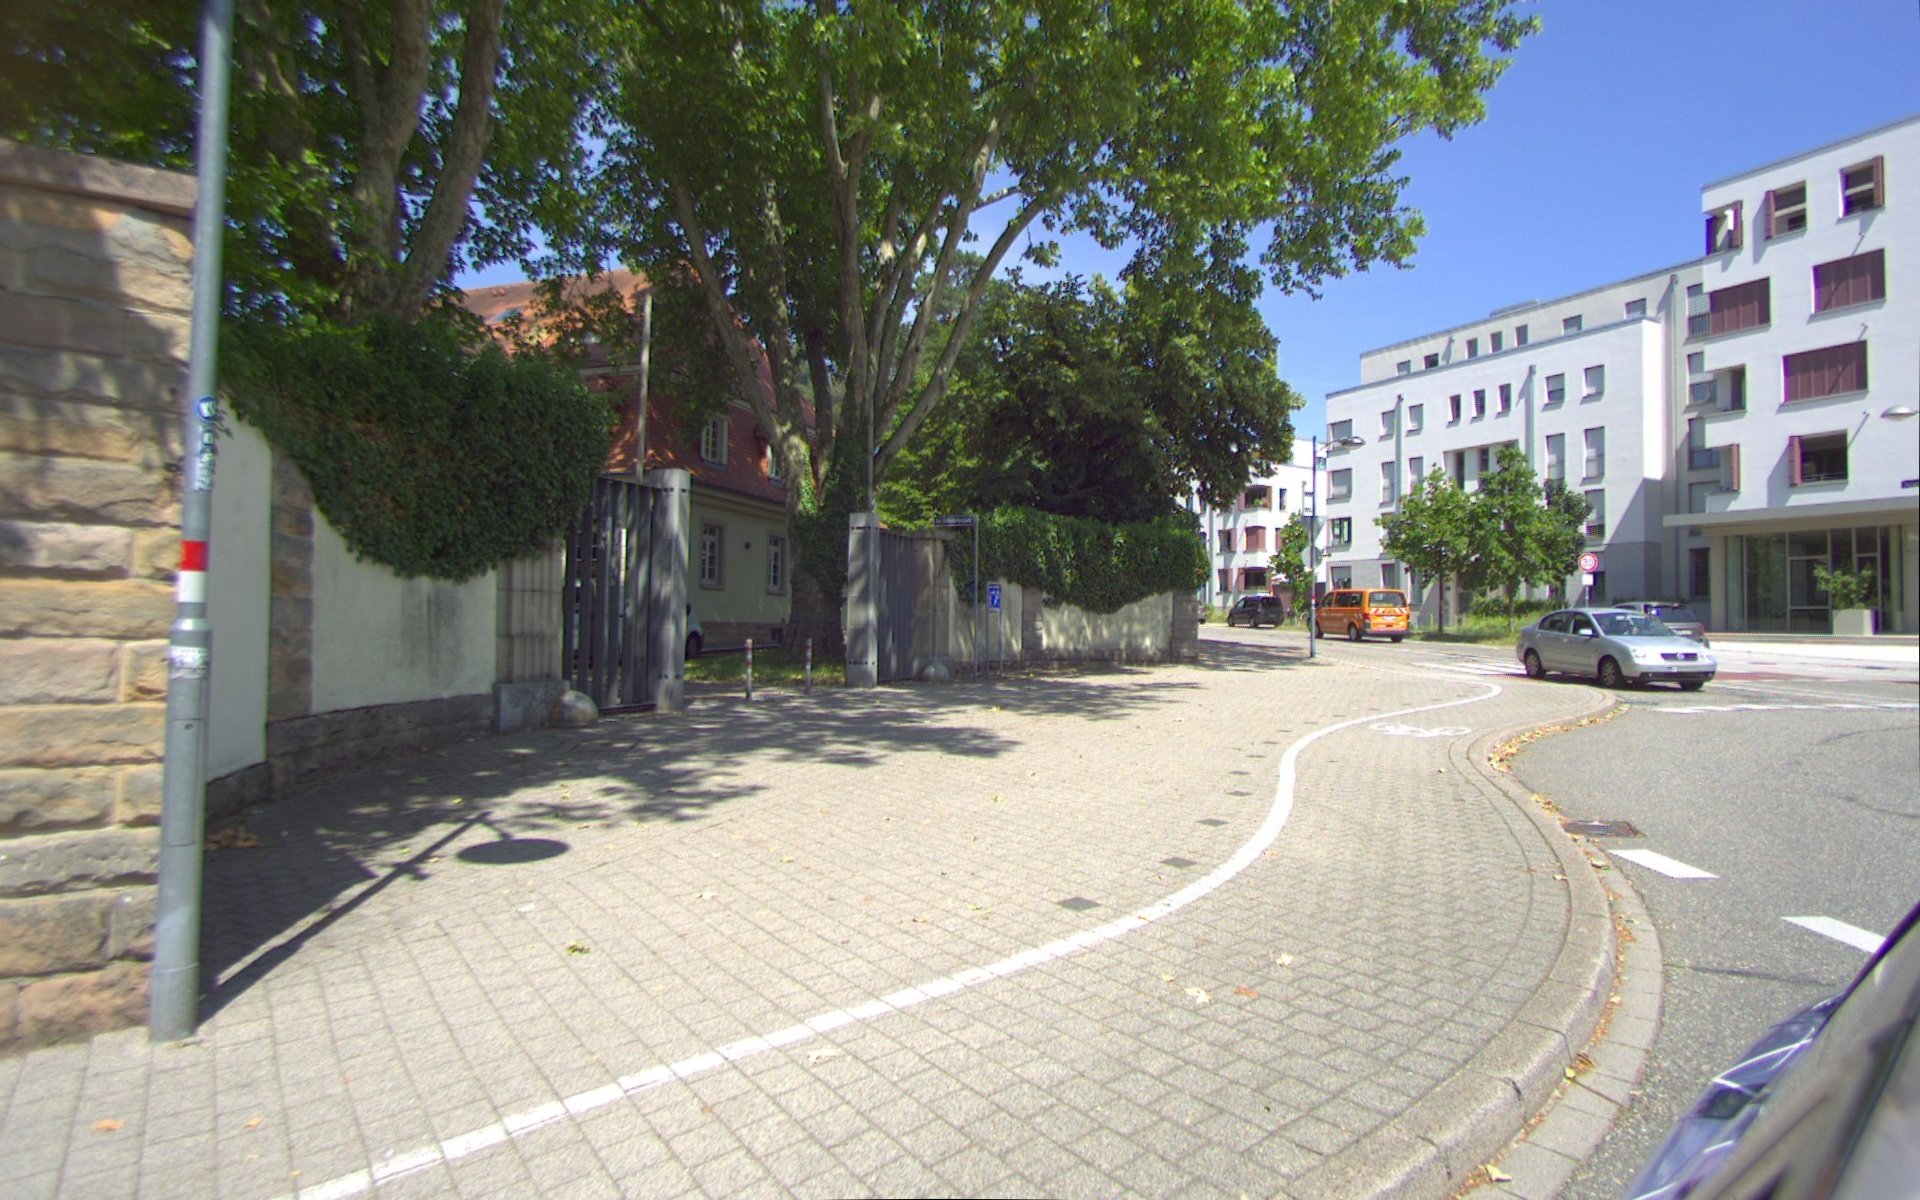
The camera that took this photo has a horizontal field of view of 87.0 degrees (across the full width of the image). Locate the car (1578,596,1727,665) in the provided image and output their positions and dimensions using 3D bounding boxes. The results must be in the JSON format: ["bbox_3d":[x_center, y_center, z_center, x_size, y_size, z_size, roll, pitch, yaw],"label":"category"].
[{"bbox_3d":[16.538,0.680,24.309,1.539,1.549,2.791,0,0,-4],"label":"car"}]

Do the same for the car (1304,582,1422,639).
[{"bbox_3d":[15.113,0.356,38.317,1.911,1.984,5.027,-1,0,-7],"label":"car"}]

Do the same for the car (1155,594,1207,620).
[{"bbox_3d":[14.004,0.426,64.315,1.753,1.610,3.635,0,0,-16],"label":"car"}]

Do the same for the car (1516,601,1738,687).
[{"bbox_3d":[12.553,0.757,19.378,1.578,1.470,4.000,0,0,0],"label":"car"}]

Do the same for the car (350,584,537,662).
[{"bbox_3d":[-13.133,0.535,26.059,1.817,1.834,4.308,0,0,17],"label":"car"}]

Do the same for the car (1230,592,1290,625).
[{"bbox_3d":[16.251,0.434,54.986,1.664,1.722,3.634,0,0,-11],"label":"car"}]

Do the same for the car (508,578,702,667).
[{"bbox_3d":[-8.359,0.470,24.392,1.949,1.910,4.838,0,0,17],"label":"car"}]
